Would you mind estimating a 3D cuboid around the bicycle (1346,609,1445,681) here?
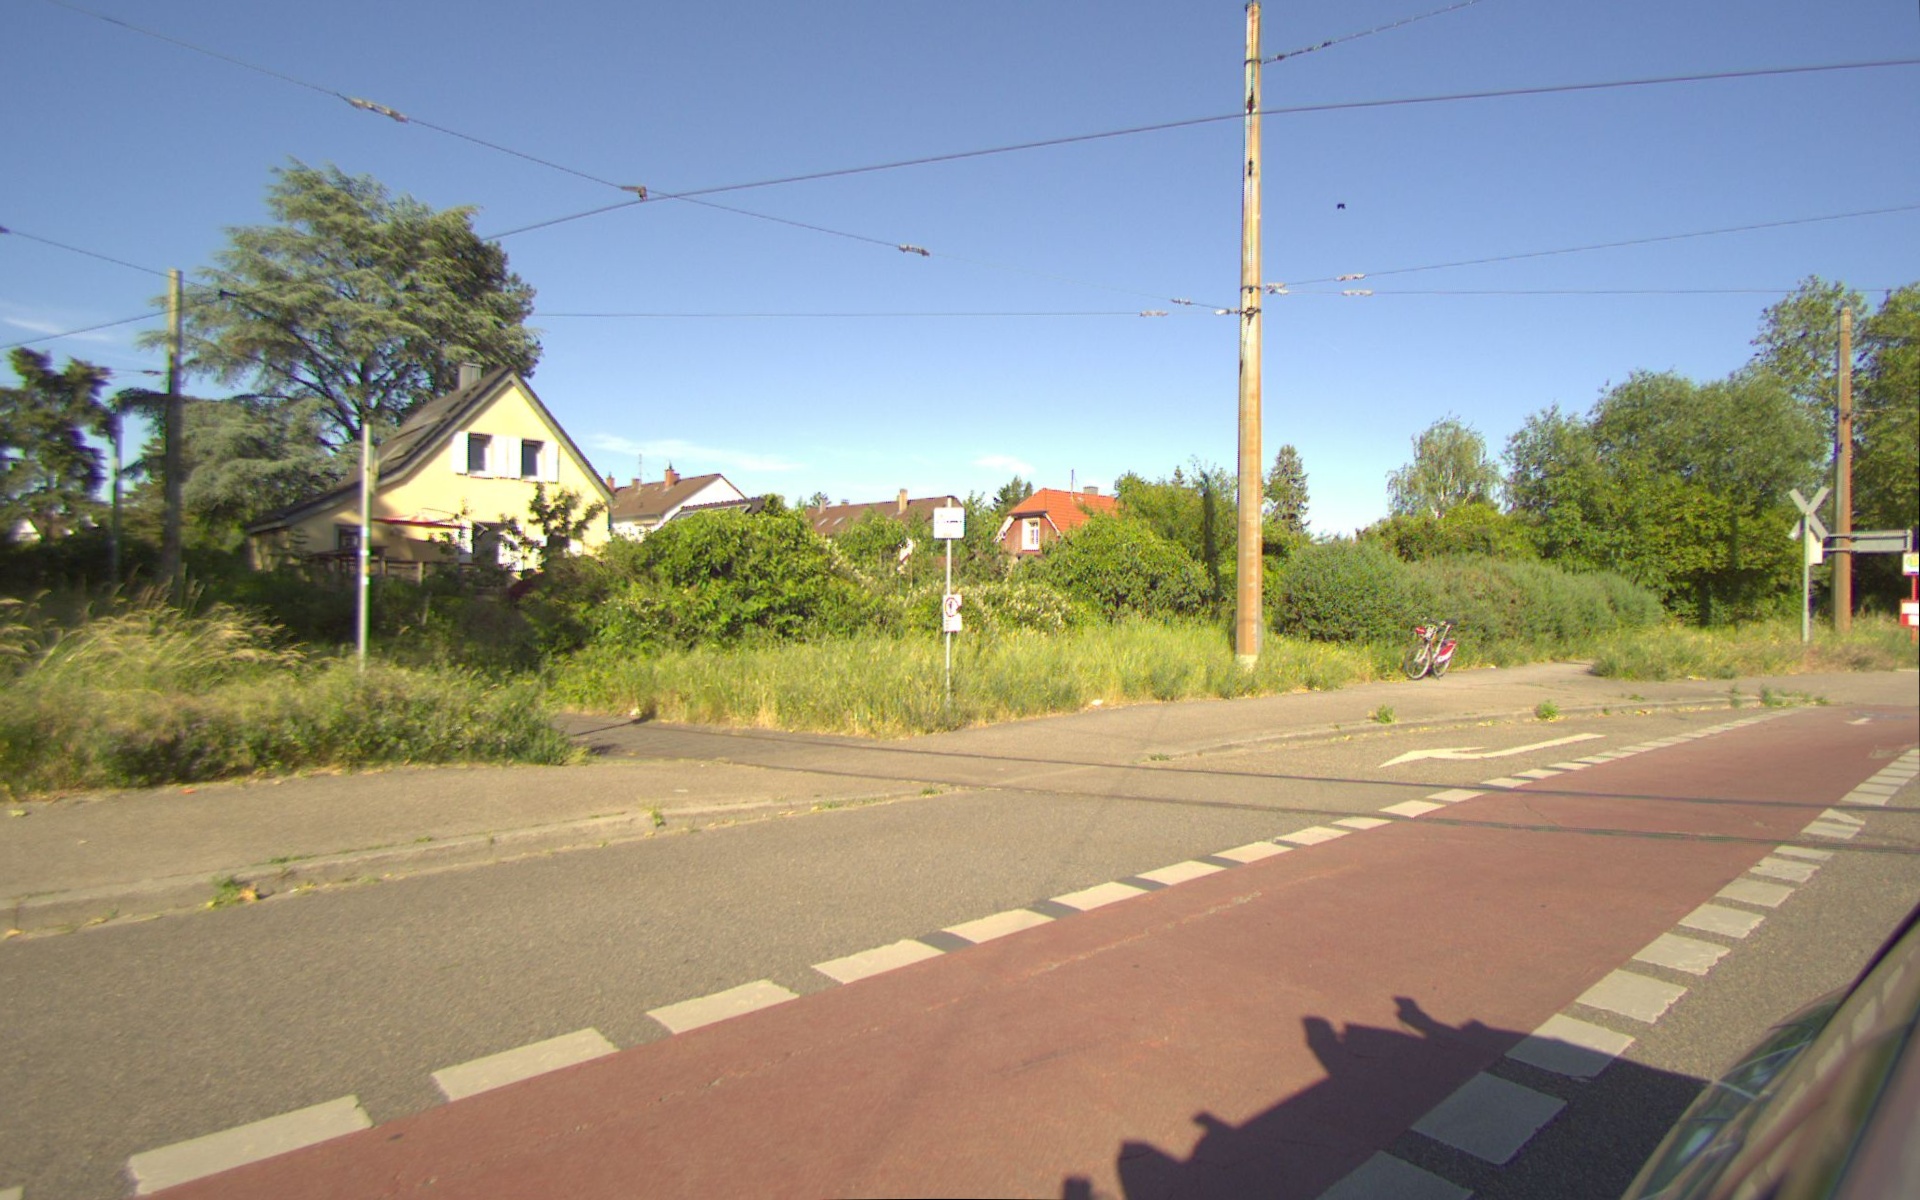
[{"bbox_3d":[7.360,0.739,17.060,2.053,1.149,0.367,1,0,-30],"label":"bicycle"}]
